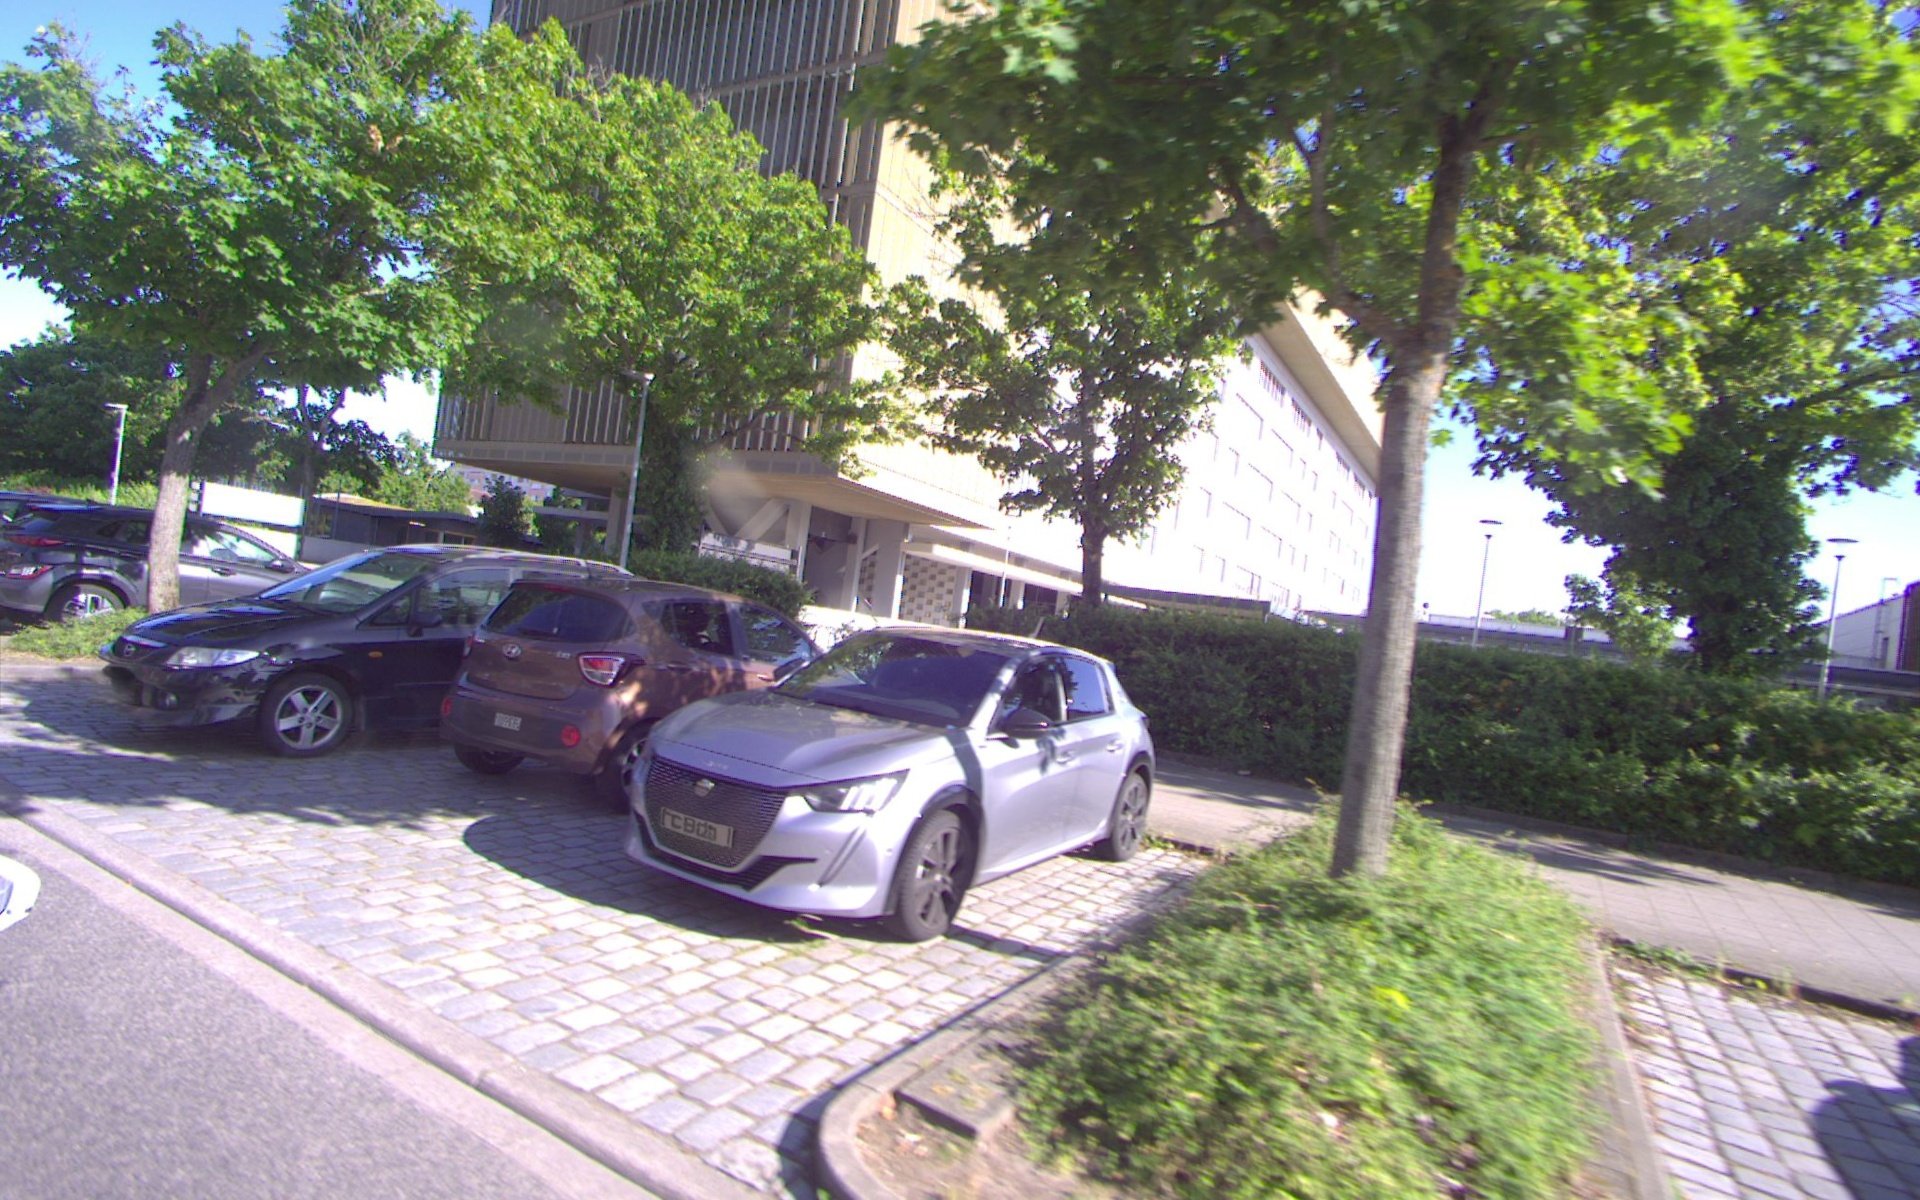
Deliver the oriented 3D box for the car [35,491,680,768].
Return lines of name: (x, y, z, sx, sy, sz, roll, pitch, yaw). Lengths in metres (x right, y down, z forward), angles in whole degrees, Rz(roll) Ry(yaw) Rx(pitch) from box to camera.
car: (-4.541, 0.293, 8.303, 1.711, 1.599, 4.151, 7, -1, 30)

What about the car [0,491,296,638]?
car: (-11.863, -0.498, 13.825, 1.998, 1.600, 3.993, 6, -2, 32)

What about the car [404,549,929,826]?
car: (-2.011, 0.665, 8.039, 1.624, 1.522, 3.871, 7, -1, 29)

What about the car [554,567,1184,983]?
car: (-0.159, 0.847, 6.091, 1.713, 1.503, 3.908, 7, -1, 30)

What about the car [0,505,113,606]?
car: (-16.184, -0.881, 15.944, 1.787, 1.476, 3.773, 6, -2, 31)

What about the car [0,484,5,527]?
car: (-19.731, -1.493, 17.594, 1.654, 1.901, 3.993, 8, -1, 32)

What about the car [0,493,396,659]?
car: (-9.631, -0.223, 12.590, 1.831, 1.556, 3.993, 6, -2, 32)
